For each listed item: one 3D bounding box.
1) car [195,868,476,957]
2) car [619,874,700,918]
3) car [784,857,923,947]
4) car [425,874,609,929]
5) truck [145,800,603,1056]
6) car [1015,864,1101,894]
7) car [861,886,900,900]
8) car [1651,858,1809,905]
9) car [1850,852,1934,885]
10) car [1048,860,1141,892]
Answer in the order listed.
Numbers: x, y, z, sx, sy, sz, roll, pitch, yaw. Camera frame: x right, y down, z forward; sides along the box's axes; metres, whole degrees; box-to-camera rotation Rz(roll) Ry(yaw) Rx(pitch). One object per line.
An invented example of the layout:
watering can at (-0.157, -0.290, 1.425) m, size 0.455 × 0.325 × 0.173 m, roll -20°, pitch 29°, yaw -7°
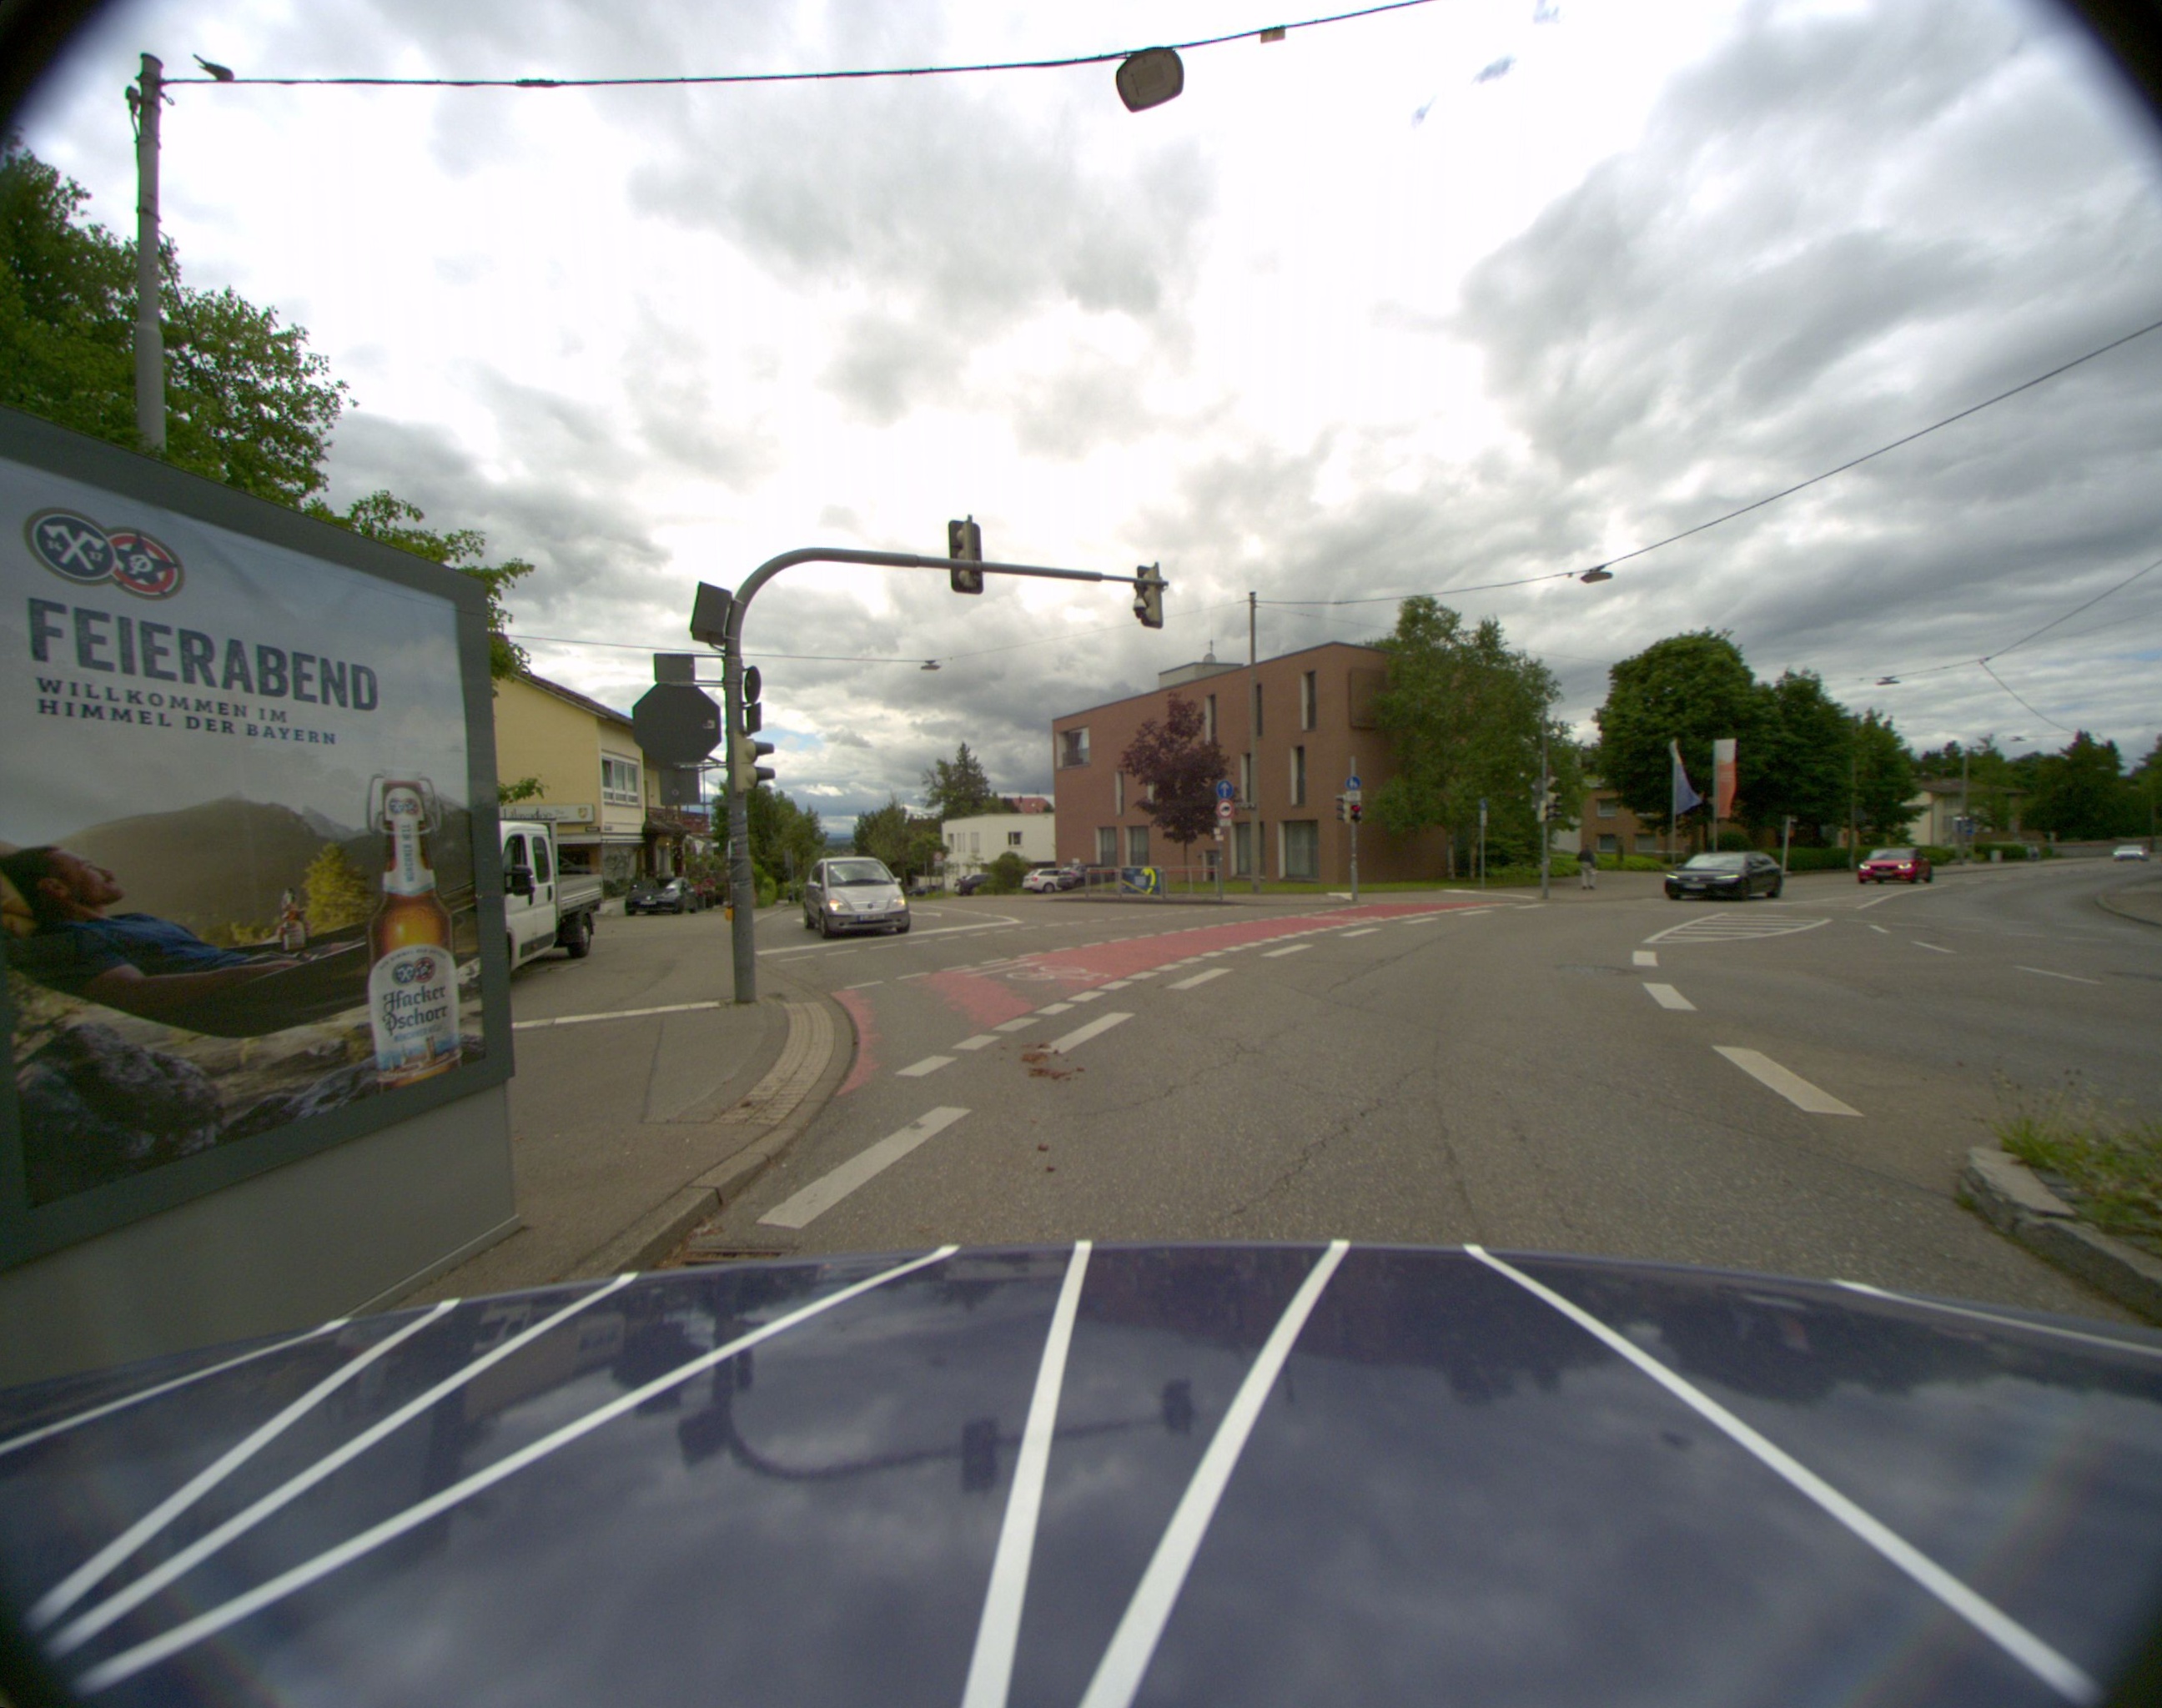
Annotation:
car at (-15.224, 1.162, 15.664) m, size 4.063 × 1.630 × 1.869 m, roll -1°, pitch 0°, yaw 4°
car at (-15.717, 1.582, 28.553) m, size 1.876 × 1.483 × 3.879 m, roll -2°, pitch -3°, yaw -17°
car at (-5.020, 0.944, 16.400) m, size 2.003 × 1.586 × 3.991 m, roll -2°, pitch 0°, yaw -29°
car at (-17.699, 1.456, 24.042) m, size 4.228 × 1.519 × 1.931 m, roll -1°, pitch -2°, yaw -8°
truck at (-8.508, 0.639, 10.230) m, size 2.407 × 2.338 × 6.177 m, roll -1°, pitch 1°, yaw -22°
car at (-1.312, 1.435, 43.669) m, size 4.442 × 1.548 × 1.996 m, roll -1°, pitch -1°, yaw -25°
car at (-25.447, 4.945, 96.434) m, size 4.442 × 1.548 × 1.996 m, roll -1°, pitch -1°, yaw -25°
car at (19.533, 0.773, 22.895) m, size 4.004 × 1.237 × 1.996 m, roll -1°, pitch 0°, yaw -22°
car at (35.052, 0.594, 32.817) m, size 4.007 × 1.193 × 1.995 m, roll -2°, pitch 1°, yaw -36°
car at (0.721, 1.131, 39.824) m, size 4.442 × 1.548 × 1.996 m, roll -1°, pitch -1°, yaw -25°
